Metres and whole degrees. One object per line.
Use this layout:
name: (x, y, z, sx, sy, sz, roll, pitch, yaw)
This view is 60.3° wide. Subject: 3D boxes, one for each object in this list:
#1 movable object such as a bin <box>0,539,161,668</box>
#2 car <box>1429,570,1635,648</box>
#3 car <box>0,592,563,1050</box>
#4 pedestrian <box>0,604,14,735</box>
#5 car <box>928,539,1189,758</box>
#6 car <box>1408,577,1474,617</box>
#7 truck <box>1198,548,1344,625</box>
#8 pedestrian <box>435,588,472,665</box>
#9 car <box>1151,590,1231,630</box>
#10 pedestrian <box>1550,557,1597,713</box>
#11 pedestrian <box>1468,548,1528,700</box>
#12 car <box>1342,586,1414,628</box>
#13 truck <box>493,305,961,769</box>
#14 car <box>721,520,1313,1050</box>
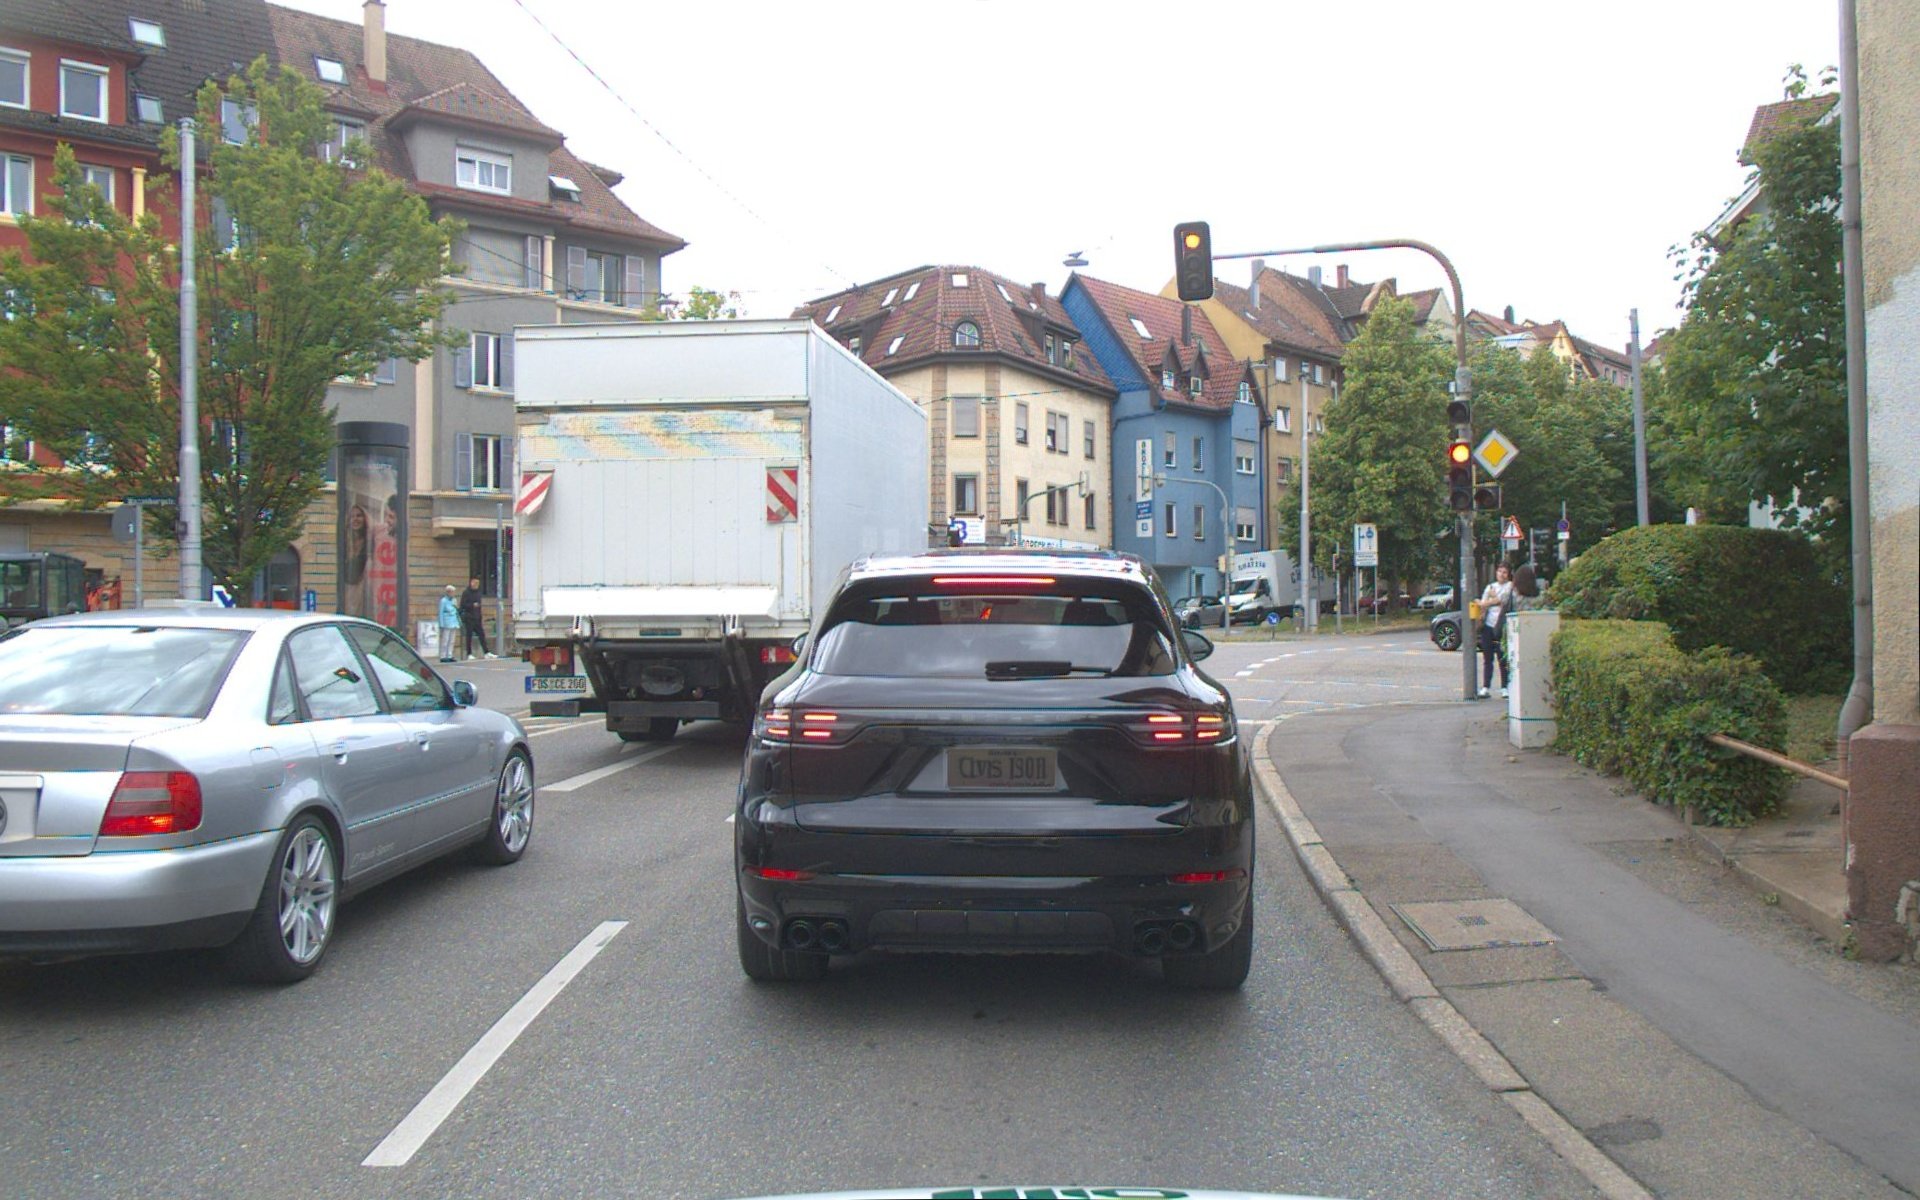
movable object such as a bin: (-13.822, 0.033, 25.468, 1.870, 1.802, 3.986, 2, 0, -14)
car: (14.137, 0.278, 41.095, 1.910, 1.803, 4.586, 2, -2, -38)
car: (-3.191, 0.695, 7.389, 1.661, 1.397, 4.179, 0, 1, 3)
pedestrian: (-13.277, 0.935, 22.565, 0.537, 1.760, 0.586, 2, -1, -35)
car: (1.041, 0.385, 15.073, 1.951, 1.713, 4.003, 0, 0, 10)
car: (26.666, -0.171, 91.648, 1.965, 2.049, 3.975, 2, 0, 42)
truck: (14.908, -0.599, 78.753, 2.830, 3.398, 8.744, 2, 0, 41)
pedestrian: (-10.659, 0.557, 34.795, 0.577, 1.594, 0.486, 2, -1, -1)
car: (10.079, 0.429, 72.051, 1.958, 1.713, 3.988, 0, 0, 33)
pedestrian: (7.447, 0.422, 20.089, 0.453, 1.869, 0.324, 2, -1, 14)
pedestrian: (6.726, 0.296, 20.691, 0.577, 1.851, 0.529, 2, -1, 7)
car: (21.894, 0.365, 86.583, 1.965, 2.049, 3.975, 2, 0, 42)
truck: (-1.882, -0.549, 17.159, 2.710, 3.637, 8.071, 1, 1, 8)
car: (0.077, 0.572, 7.405, 1.939, 1.713, 3.997, 0, 1, -4)
